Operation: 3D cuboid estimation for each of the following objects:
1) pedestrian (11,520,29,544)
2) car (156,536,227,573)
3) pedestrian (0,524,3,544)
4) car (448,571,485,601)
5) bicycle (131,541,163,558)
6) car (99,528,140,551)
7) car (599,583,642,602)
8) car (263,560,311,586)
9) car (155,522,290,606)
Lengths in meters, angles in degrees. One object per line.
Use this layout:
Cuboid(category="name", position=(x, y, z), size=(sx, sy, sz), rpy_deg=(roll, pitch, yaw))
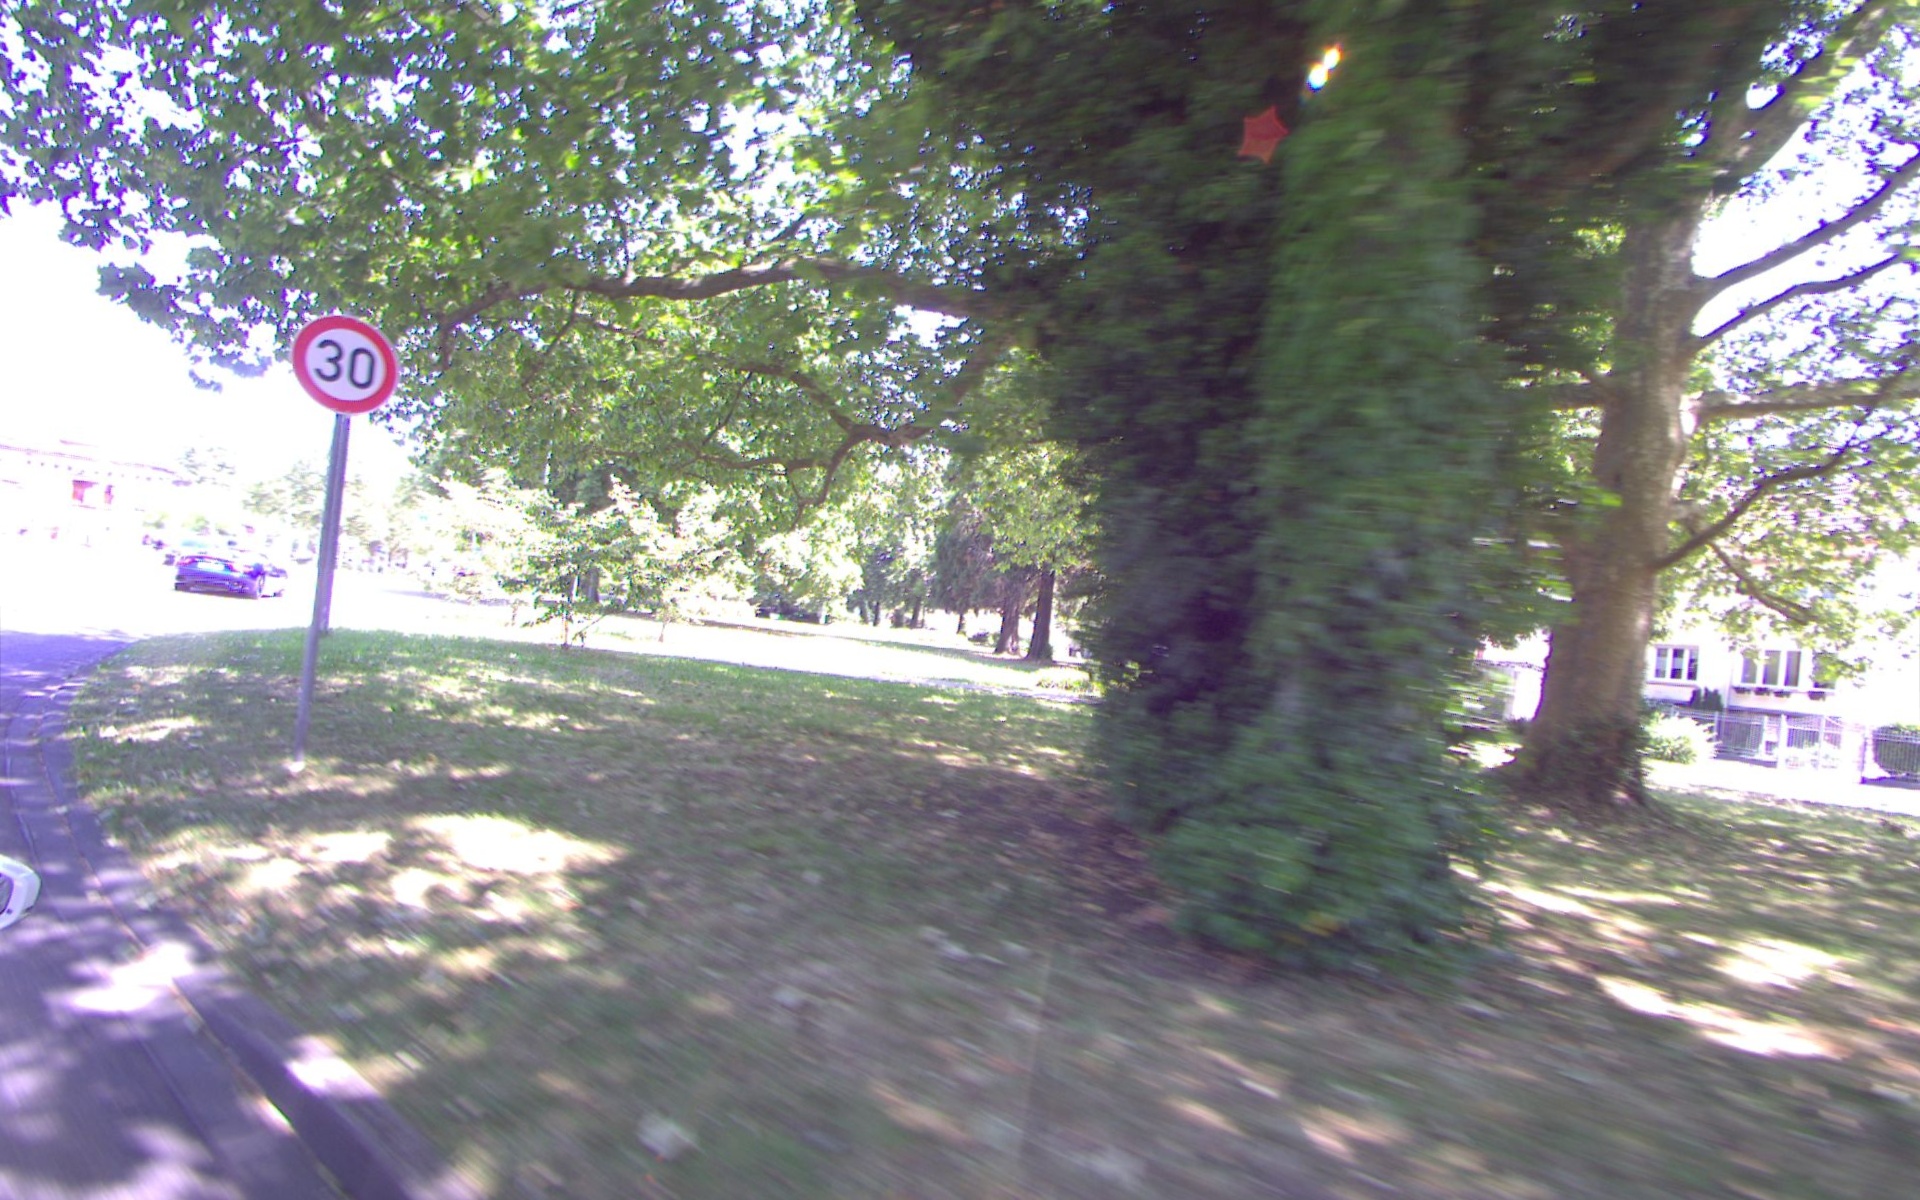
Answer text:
Cuboid(category="pedestrian", position=(-70.846, -5.159, 75.811), size=(0.620, 1.692, 0.657), rpy_deg=(5, -2, 20))
Cuboid(category="car", position=(-38.402, -2.229, 50.363), size=(1.702, 1.496, 4.759), rpy_deg=(6, -2, -25))
Cuboid(category="pedestrian", position=(-47.492, -3.283, 49.469), size=(0.419, 0.983, 0.371), rpy_deg=(6, -2, -11))
Cuboid(category="car", position=(-28.354, -0.814, 57.725), size=(1.704, 1.496, 3.682), rpy_deg=(7, -2, -28))
Cuboid(category="bicycle", position=(-63.308, -3.957, 78.323), size=(0.482, 1.042, 1.790), rpy_deg=(5, -2, 42))
Cuboid(category="car", position=(-85.404, -6.165, 102.280), size=(1.734, 1.940, 4.749), rpy_deg=(7, -1, -24))
Cuboid(category="car", position=(-36.055, -0.791, 106.877), size=(4.068, 1.483, 1.988), rpy_deg=(7, -1, -26))
Cuboid(category="car", position=(-42.999, -1.719, 64.365), size=(1.795, 1.463, 4.136), rpy_deg=(3, 0, -23))
Cuboid(category="car", position=(-20.150, -0.928, 27.695), size=(2.106, 1.869, 4.025), rpy_deg=(8, -2, -26))
